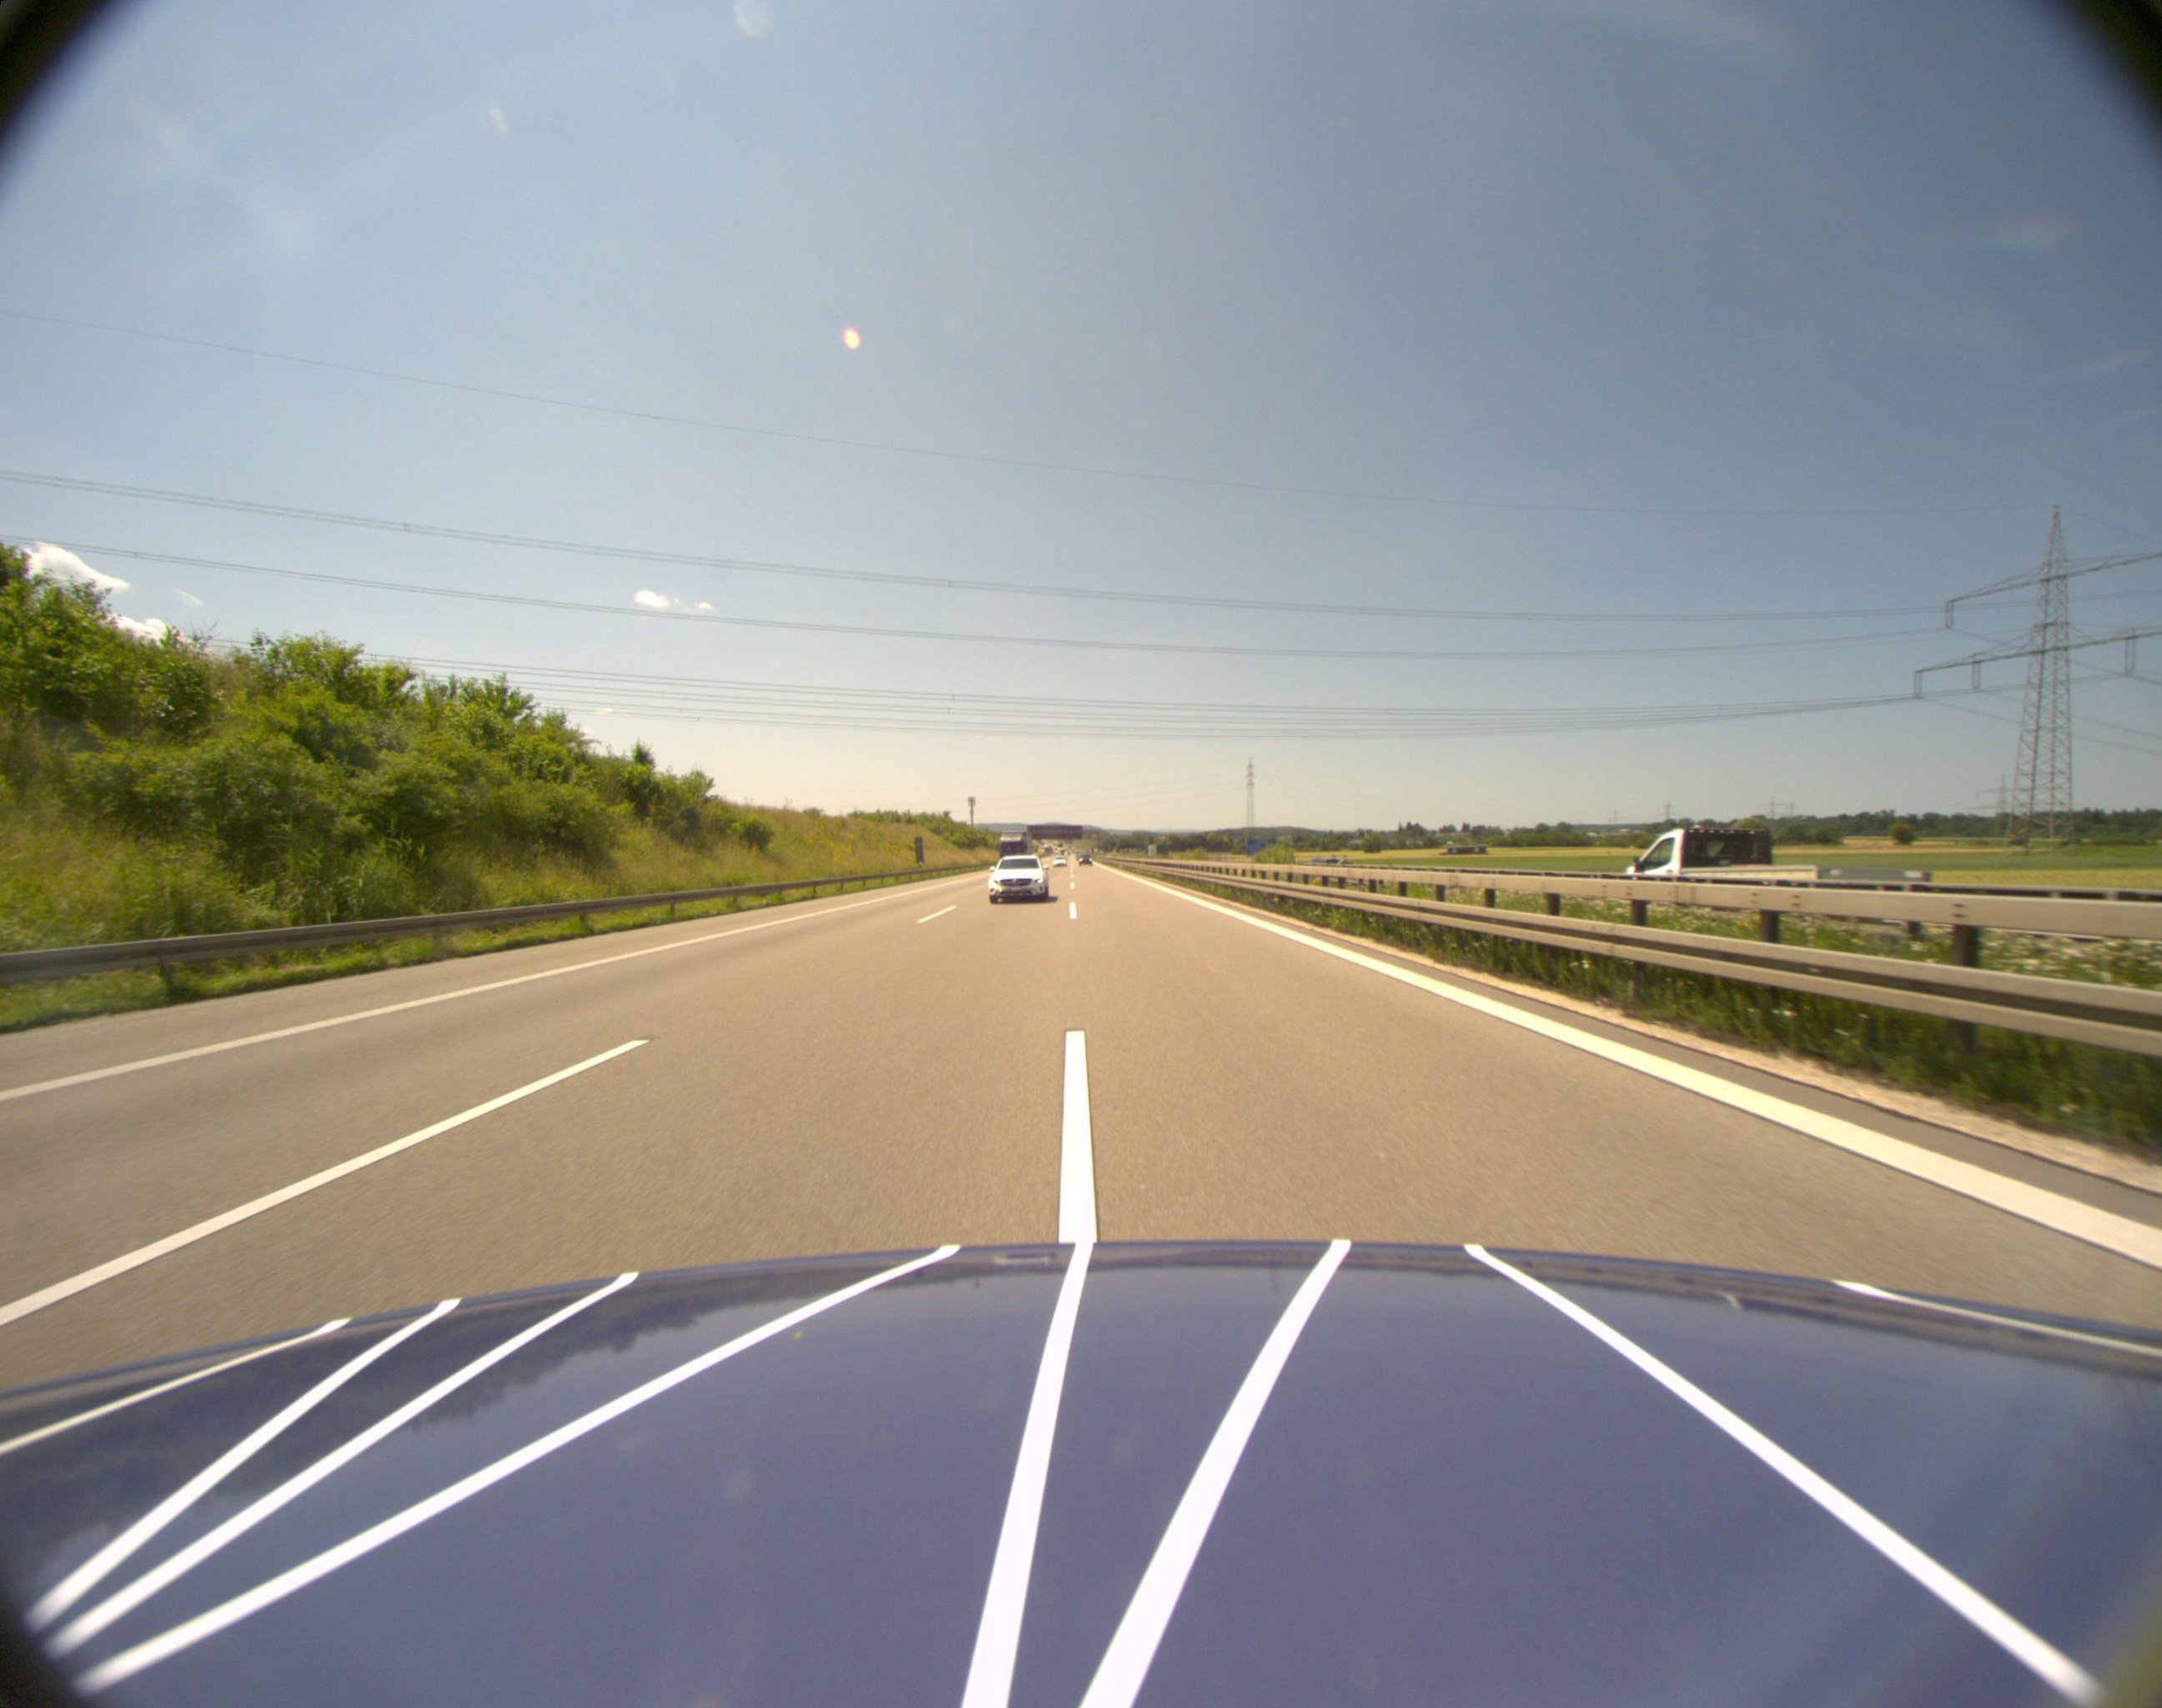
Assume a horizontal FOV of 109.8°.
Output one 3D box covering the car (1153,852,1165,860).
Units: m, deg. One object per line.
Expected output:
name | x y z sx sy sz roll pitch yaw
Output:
car | 13.825 0.372 135.111 1.728 1.425 3.999 1 0 -1

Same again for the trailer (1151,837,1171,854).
trailer | 17.714 -1.944 169.795 2.761 3.573 12.532 -2 1 -1

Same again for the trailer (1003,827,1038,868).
trailer | -6.484 -0.739 83.193 2.732 4.131 11.806 -2 1 0

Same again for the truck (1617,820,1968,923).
truck | 15.106 0.279 16.829 2.435 1.826 5.725 -2 1 0

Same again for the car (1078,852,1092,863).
car | 0.577 0.494 107.549 1.751 1.439 3.999 -1 1 -2

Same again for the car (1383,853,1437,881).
car | 21.790 0.847 50.462 1.827 1.683 3.999 -2 1 1

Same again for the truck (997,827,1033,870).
truck | -6.510 -0.555 76.010 2.759 3.997 6.787 -2 1 1

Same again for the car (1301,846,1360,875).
car | 14.421 0.337 44.181 1.952 1.534 4.285 -2 1 0

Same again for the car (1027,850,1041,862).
car | -7.479 0.367 121.745 2.040 1.794 4.249 -2 1 -1

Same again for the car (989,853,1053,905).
car | -2.077 0.804 27.564 1.919 1.571 5.229 -2 1 -1

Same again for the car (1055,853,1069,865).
car | -2.580 0.626 102.806 1.780 1.425 4.689 -2 1 -1
